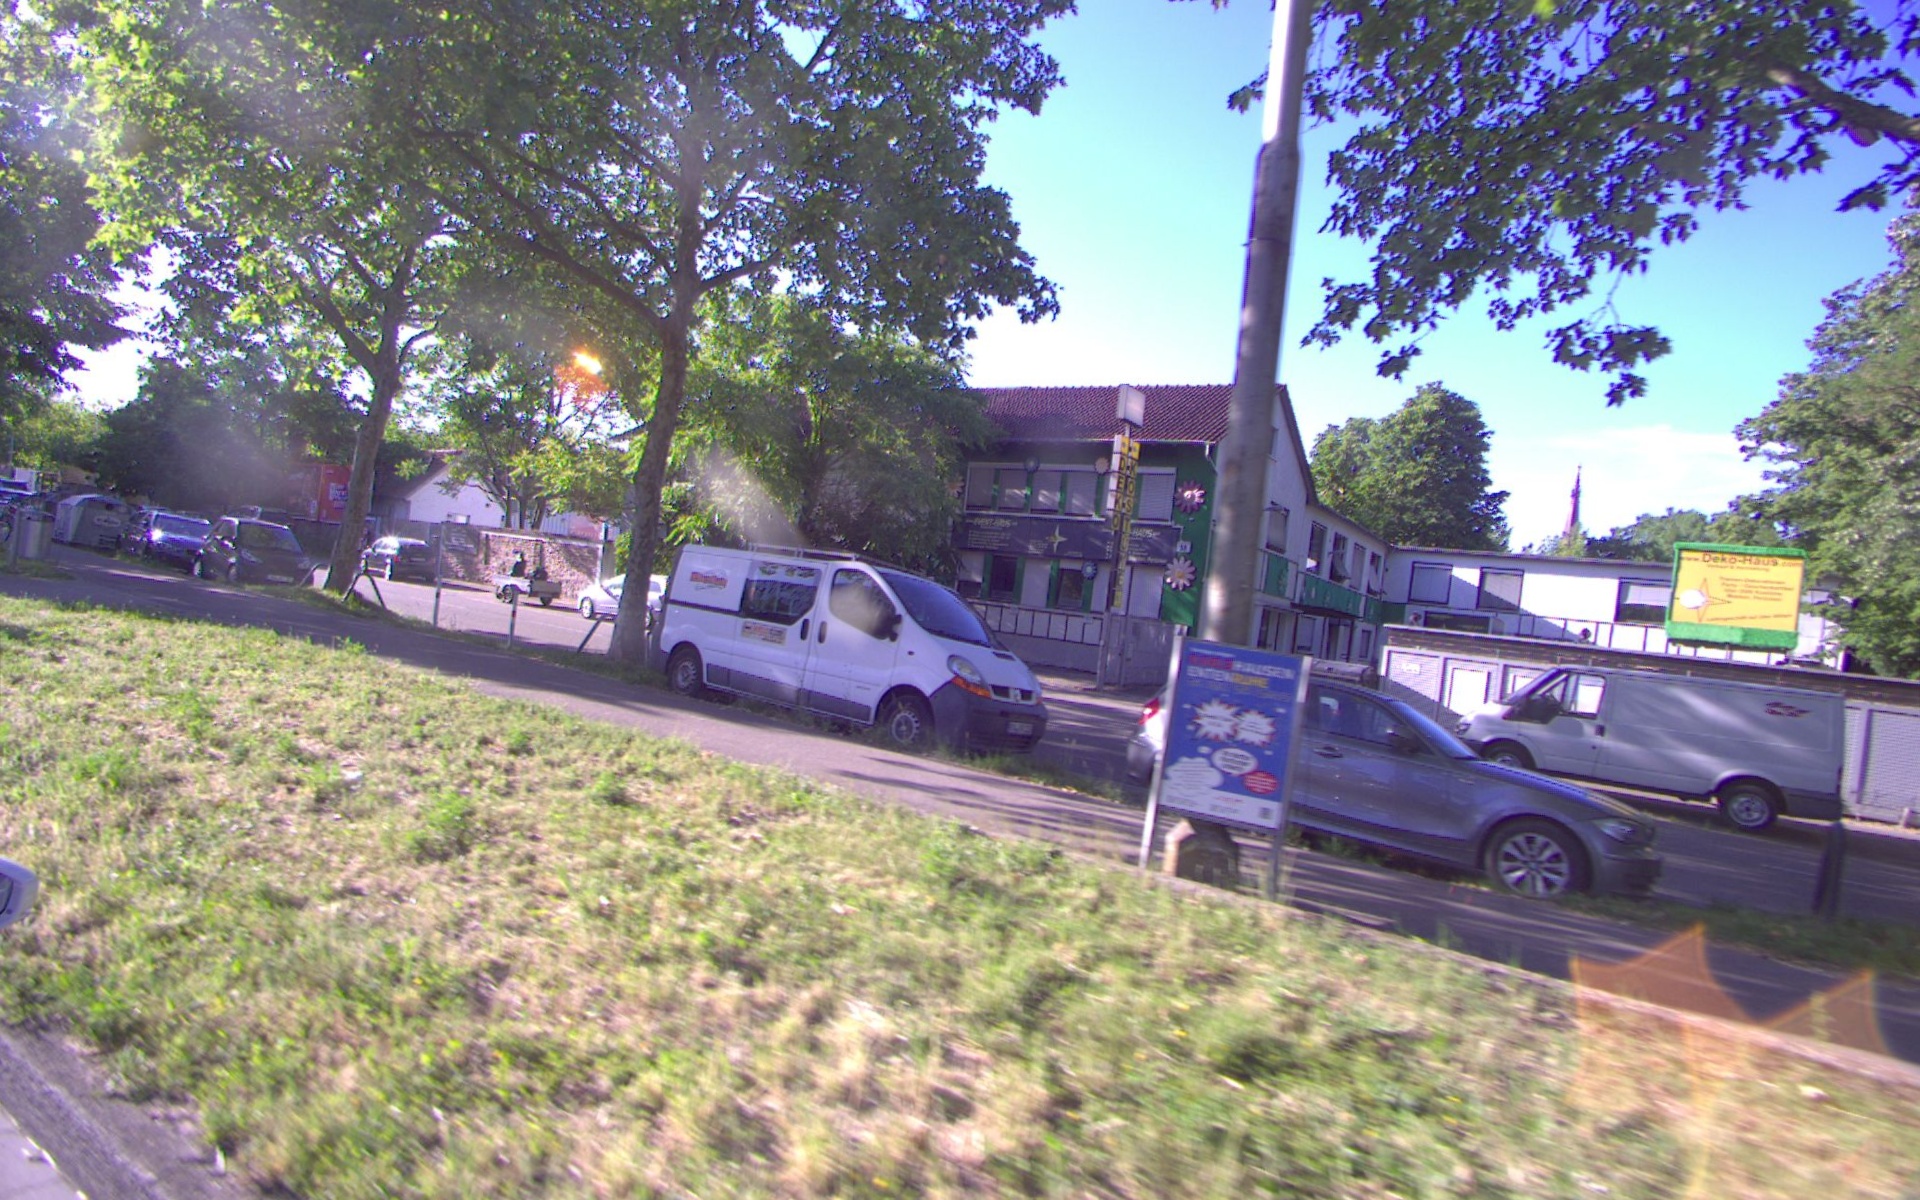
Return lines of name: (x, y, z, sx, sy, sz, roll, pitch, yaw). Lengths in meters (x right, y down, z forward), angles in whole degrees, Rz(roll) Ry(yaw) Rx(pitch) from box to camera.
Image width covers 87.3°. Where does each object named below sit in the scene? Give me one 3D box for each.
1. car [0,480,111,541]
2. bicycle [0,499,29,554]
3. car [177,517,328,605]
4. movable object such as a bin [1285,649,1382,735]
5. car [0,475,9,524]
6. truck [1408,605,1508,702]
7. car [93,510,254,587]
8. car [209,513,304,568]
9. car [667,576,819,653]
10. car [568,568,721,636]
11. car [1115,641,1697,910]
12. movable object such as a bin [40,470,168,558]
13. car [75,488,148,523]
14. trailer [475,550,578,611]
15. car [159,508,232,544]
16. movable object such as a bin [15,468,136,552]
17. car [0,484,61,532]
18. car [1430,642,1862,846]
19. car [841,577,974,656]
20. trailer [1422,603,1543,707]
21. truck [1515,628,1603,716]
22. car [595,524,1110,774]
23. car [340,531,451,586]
car: (-30.731, -3.046, 33.736, 4.972, 1.542, 1.875, 6, -2, 32)
bicycle: (-20.269, -1.591, 21.164, 1.873, 1.059, 0.493, 6, -1, 34)
car: (-15.565, -0.866, 22.113, 2.942, 1.518, 1.664, 6, -2, 34)
movable object such as a bin: (7.658, 1.841, 20.588, 1.461, 1.489, 1.645, 7, 2, 31)
car: (-39.634, -4.204, 39.605, 4.812, 1.841, 1.875, 6, -2, 32)
truck: (19.617, 2.127, 39.613, 2.675, 3.308, 2.482, 8, 0, 39)
car: (-19.809, -1.325, 25.278, 4.673, 1.400, 2.000, 6, -2, 38)
car: (-31.936, -2.723, 45.628, 4.615, 2.028, 1.871, 6, 1, 33)
car: (-5.720, 0.349, 26.508, 3.422, 1.630, 1.993, 6, 3, 32)
car: (-9.124, 0.045, 28.980, 4.257, 1.502, 1.992, 6, 1, 36)
car: (3.611, 1.293, 8.504, 3.987, 1.304, 1.997, 6, -2, 33)
movable object such as a bin: (-23.801, -2.384, 27.991, 2.103, 2.037, 2.083, 6, -2, 36)
car: (-48.340, -5.387, 57.279, 4.615, 1.566, 1.872, 6, 1, 33)
trailer: (-14.176, -0.644, 32.842, 2.976, 1.662, 1.729, 6, 2, 36)
car: (-38.006, -3.684, 49.985, 4.246, 1.389, 1.730, 6, 2, 36)
movable object such as a bin: (-26.001, -2.630, 29.579, 2.103, 2.037, 2.083, 6, -2, 36)
car: (-34.656, -3.440, 36.522, 3.934, 1.405, 1.875, 6, -2, 32)
car: (10.003, 1.987, 15.083, 4.866, 2.038, 2.087, 7, -1, 37)
car: (-1.513, 0.549, 30.559, 1.819, 1.872, 4.091, 7, -2, 32)
trailer: (22.837, 2.529, 43.647, 2.645, 3.604, 8.786, 6, -2, 39)
truck: (23.009, 2.763, 38.626, 2.199, 2.948, 2.891, 6, -2, 40)
car: (-1.426, 0.444, 11.793, 5.726, 2.037, 2.193, 6, -2, 33)
car: (-21.286, -1.557, 37.895, 3.935, 1.662, 1.993, 6, 2, 33)
